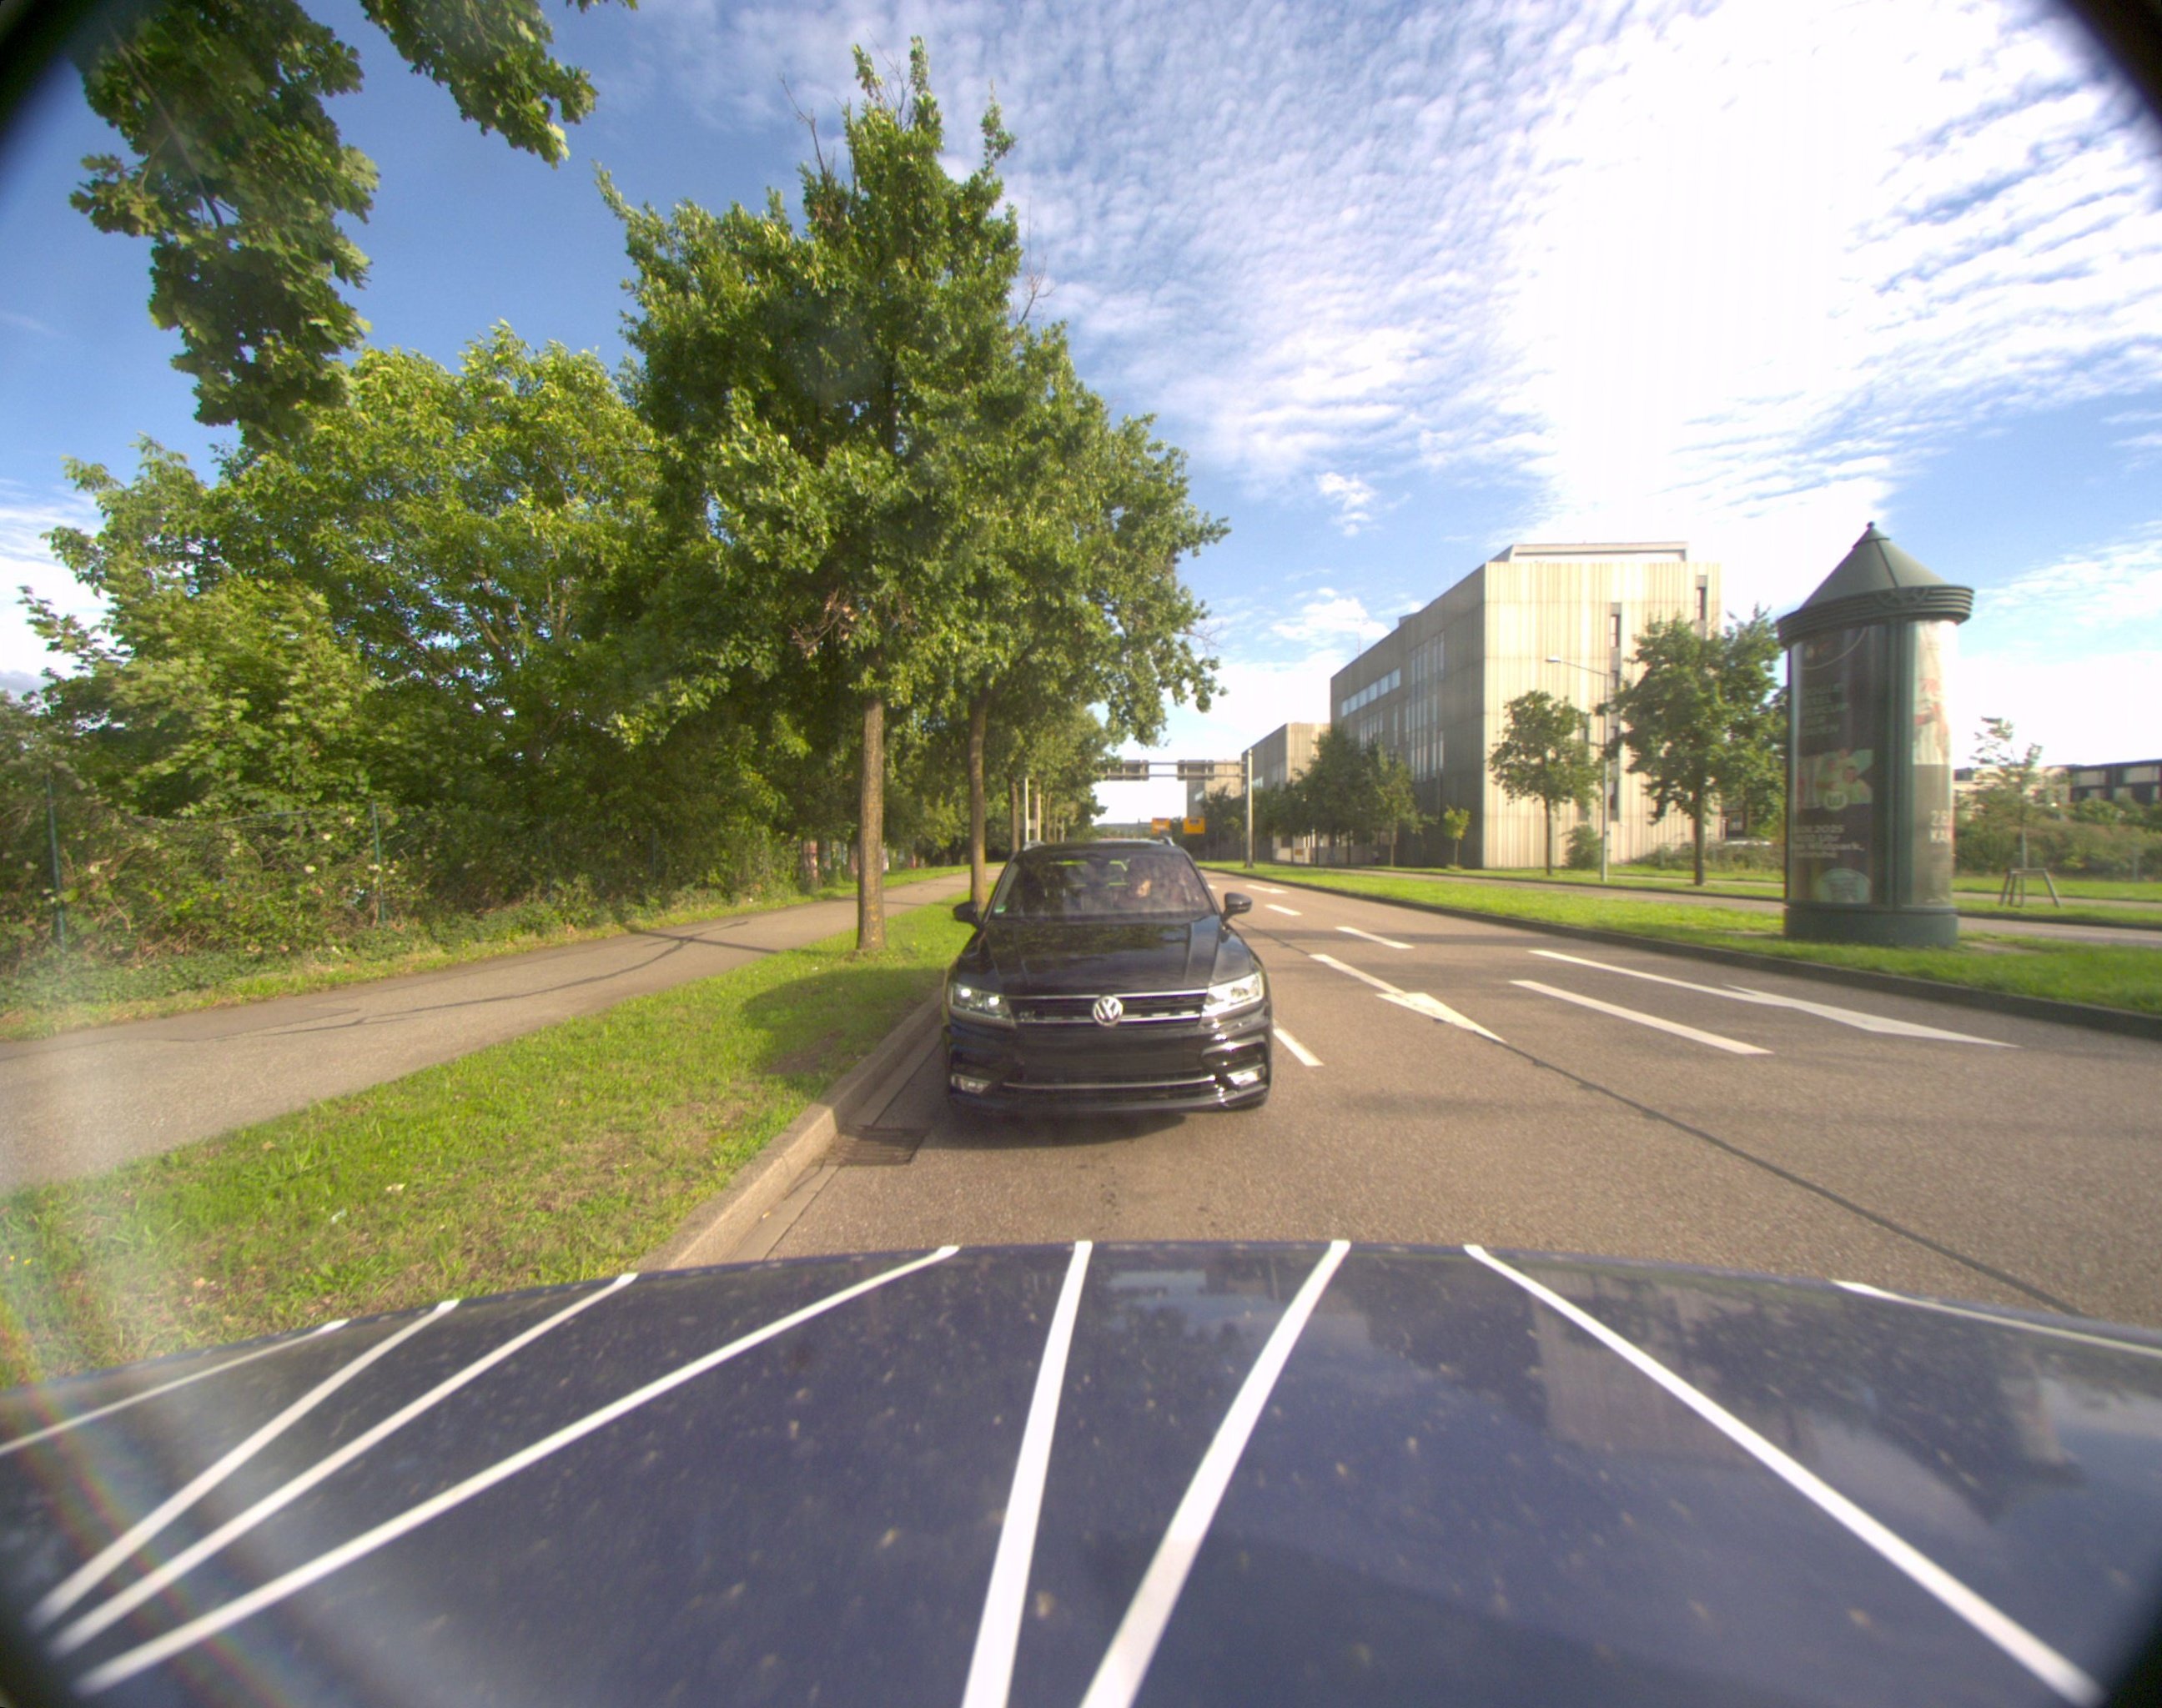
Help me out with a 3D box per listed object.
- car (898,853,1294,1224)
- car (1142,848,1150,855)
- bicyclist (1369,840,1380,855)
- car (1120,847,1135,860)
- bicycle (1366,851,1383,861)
[{"bbox_3d":[0.123,0.856,5.430,1.775,1.637,3.868,-2,1,2],"label":"car"},{"bbox_3d":[19.174,-0.637,223.514,1.998,2.002,4.000,0,0,0],"label":"car"},{"bbox_3d":[28.714,-0.636,74.306,0.707,1.517,0.989,0,1,1],"label":"bicyclist"},{"bbox_3d":[5.510,-0.049,90.293,1.745,1.455,4.000,-1,1,3],"label":"car"},{"bbox_3d":[28.730,0.182,74.343,0.897,0.975,1.911,1,0,1],"label":"bicycle"}]
